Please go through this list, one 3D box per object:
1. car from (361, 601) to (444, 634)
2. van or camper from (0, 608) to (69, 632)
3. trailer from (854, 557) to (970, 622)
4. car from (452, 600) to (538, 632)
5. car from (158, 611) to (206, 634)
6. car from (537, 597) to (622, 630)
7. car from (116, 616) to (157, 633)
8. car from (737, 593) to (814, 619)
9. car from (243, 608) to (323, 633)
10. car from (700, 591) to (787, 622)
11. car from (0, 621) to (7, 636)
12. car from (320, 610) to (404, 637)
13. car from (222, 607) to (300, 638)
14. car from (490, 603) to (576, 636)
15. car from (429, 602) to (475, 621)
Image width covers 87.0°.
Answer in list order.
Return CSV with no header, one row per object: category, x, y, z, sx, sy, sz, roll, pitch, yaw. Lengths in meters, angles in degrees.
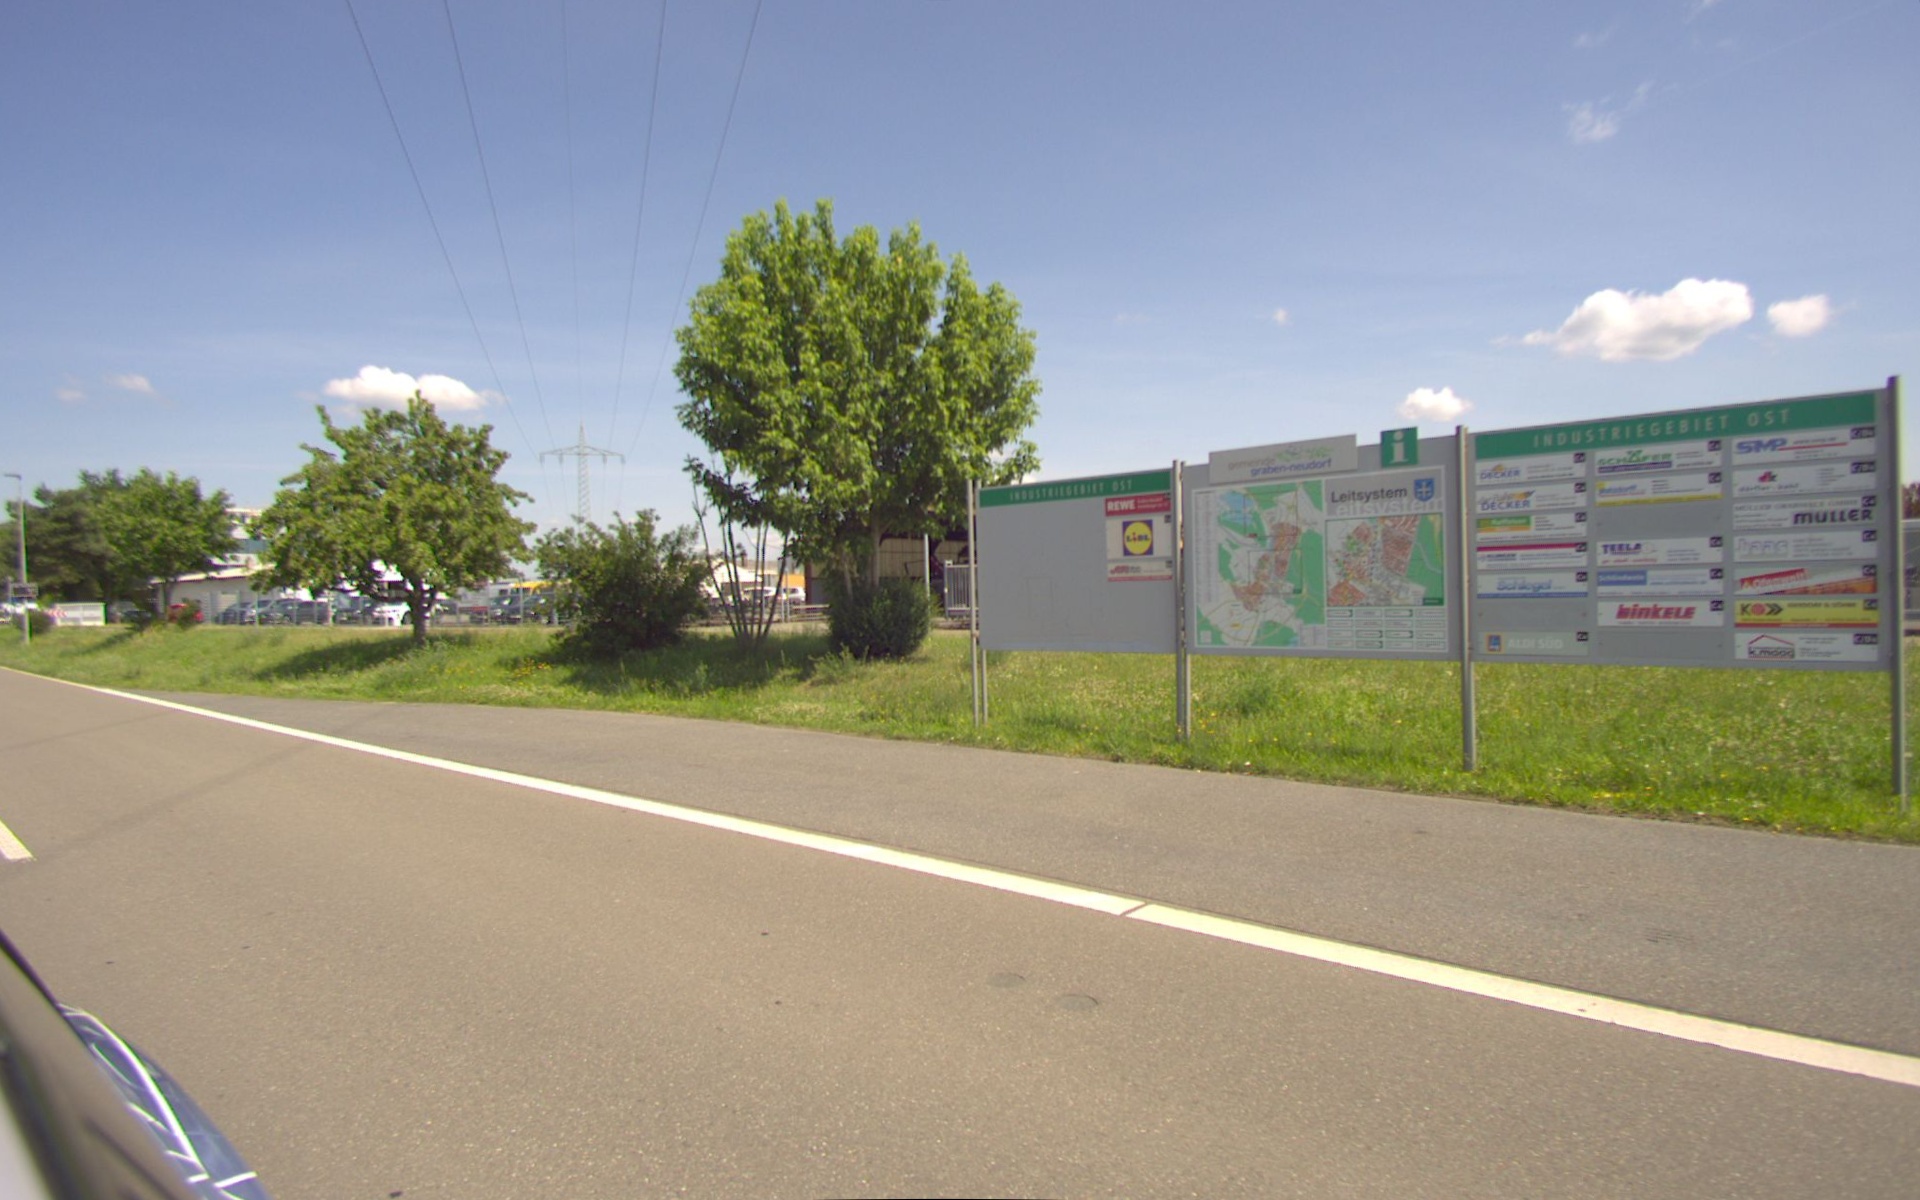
car,-30.203,0.928,54.945,1.920,1.552,3.992,-2,1,7
van or camper,-107.459,2.325,117.564,5.492,2.516,2.085,-2,1,-27
trailer,-2.187,-0.552,48.045,2.733,2.846,5.518,-2,1,33
car,-22.319,0.760,48.709,1.920,1.320,3.992,-2,1,7
car,-64.768,1.874,84.259,4.219,1.757,1.977,-1,1,35
car,-17.070,0.588,45.634,1.920,1.320,3.992,-2,1,7
car,-75.476,2.282,92.757,4.511,1.418,1.974,-2,1,39
car,-10.598,0.324,58.236,3.953,1.320,1.840,-2,1,8
car,-41.188,1.230,61.702,1.920,1.320,3.992,-2,1,7
car,-11.846,0.328,55.494,4.200,1.497,1.995,-2,1,9
car,-102.539,3.037,105.886,2.000,1.530,3.944,-1,1,42
car,-33.319,1.280,56.487,1.921,1.320,3.989,-2,1,9
car,-43.987,1.411,63.763,1.703,1.717,4.100,-2,1,7
car,-19.640,0.864,46.772,1.920,1.320,3.992,-2,1,7
car,-43.429,0.986,86.572,3.992,1.444,1.902,-2,1,37
